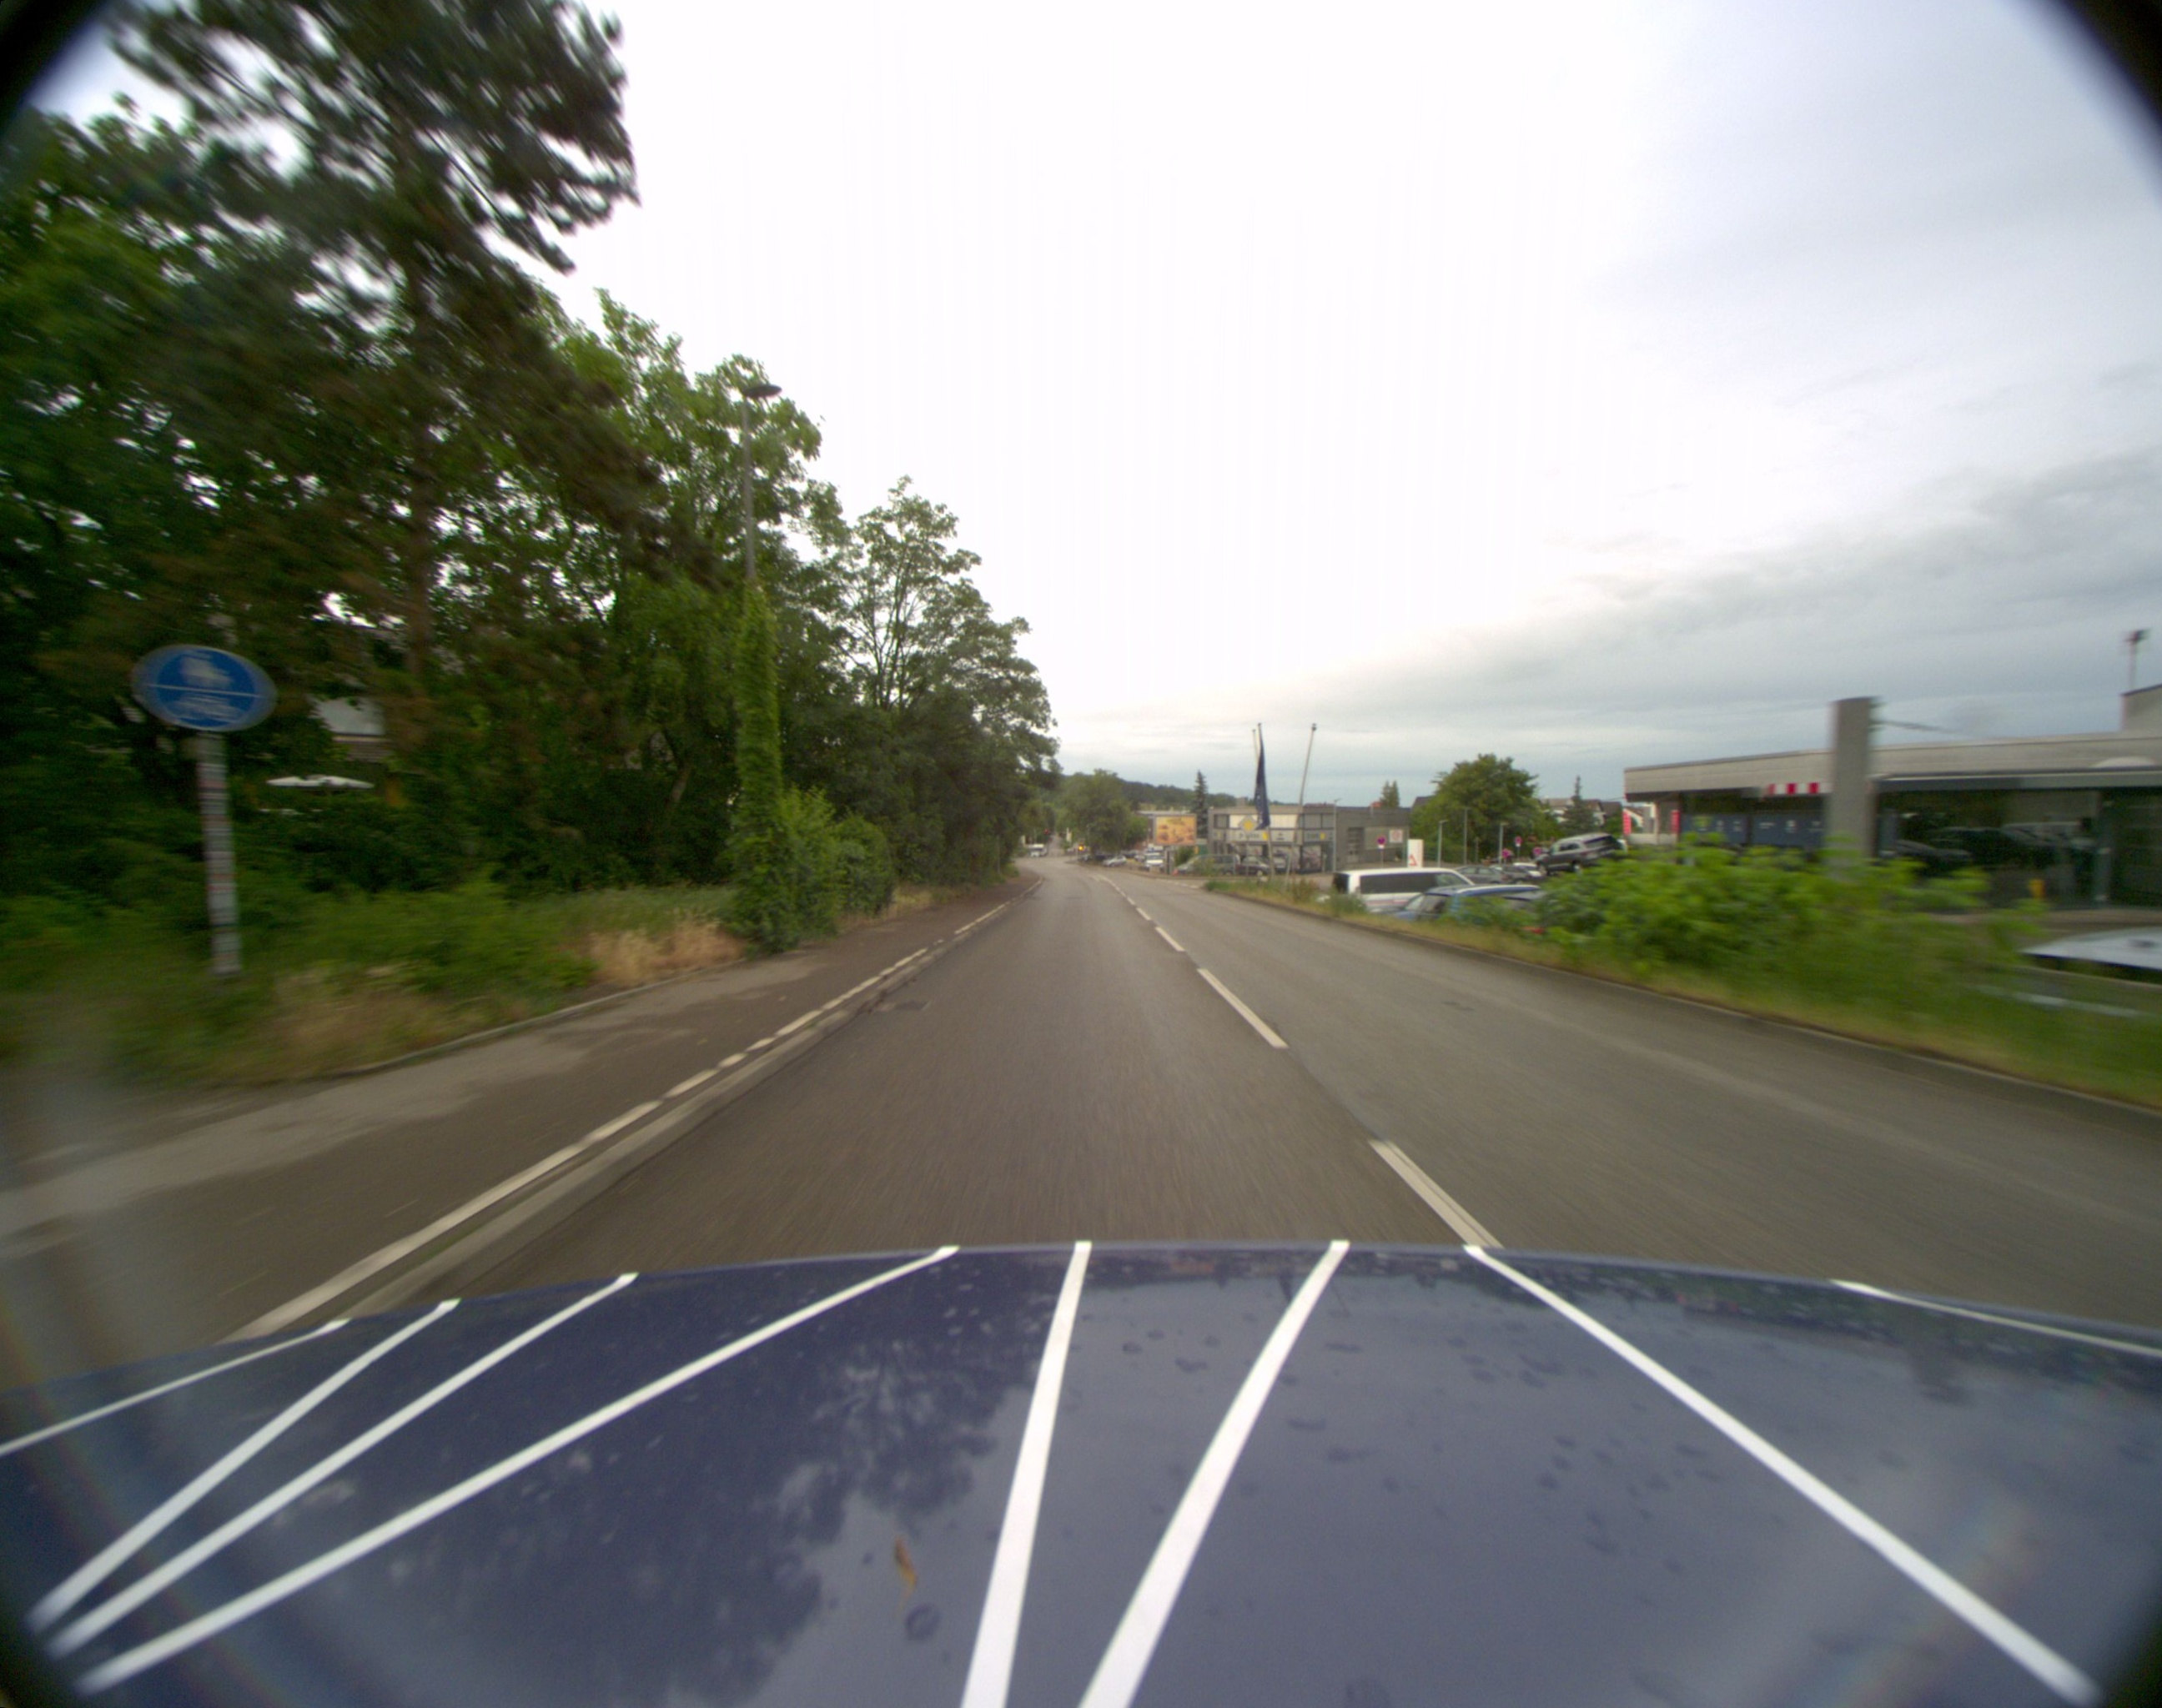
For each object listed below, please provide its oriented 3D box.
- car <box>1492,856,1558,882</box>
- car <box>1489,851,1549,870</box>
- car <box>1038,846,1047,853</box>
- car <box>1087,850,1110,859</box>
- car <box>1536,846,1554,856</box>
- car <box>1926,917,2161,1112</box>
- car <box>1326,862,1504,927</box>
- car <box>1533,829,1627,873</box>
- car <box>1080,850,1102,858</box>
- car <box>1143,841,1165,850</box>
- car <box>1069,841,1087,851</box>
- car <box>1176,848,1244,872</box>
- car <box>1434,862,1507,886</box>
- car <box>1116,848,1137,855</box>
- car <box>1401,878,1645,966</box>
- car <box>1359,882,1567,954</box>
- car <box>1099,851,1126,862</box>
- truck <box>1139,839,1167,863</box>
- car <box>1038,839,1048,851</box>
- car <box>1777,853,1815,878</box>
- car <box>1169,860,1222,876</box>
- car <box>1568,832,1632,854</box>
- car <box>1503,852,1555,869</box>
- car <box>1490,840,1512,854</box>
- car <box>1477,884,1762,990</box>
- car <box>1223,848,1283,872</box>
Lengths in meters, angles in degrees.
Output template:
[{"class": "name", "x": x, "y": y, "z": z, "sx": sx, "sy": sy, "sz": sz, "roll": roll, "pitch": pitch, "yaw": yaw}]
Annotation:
[{"class": "car", "x": 31.760, "y": 1.052, "z": 54.463, "sx": 3.981, "sy": 1.778, "sz": 1.823, "roll": 0, "pitch": 0, "yaw": 25}, {"class": "car", "x": 34.870, "y": 0.521, "z": 60.612, "sx": 3.981, "sy": 1.419, "sz": 1.847, "roll": 0, "pitch": 0, "yaw": 25}, {"class": "car", "x": -8.877, "y": -1.050, "z": 174.691, "sx": 1.770, "sy": 1.460, "sz": 3.997, "roll": 0, "pitch": 1, "yaw": -5}, {"class": "car", "x": 3.011, "y": 0.067, "z": 132.702, "sx": 3.896, "sy": 1.558, "sz": 1.671, "roll": 0, "pitch": 1, "yaw": -7}, {"class": "car", "x": 58.544, "y": -0.369, "z": 95.803, "sx": 1.377, "sy": 1.181, "sz": 3.069, "roll": 0, "pitch": 0, "yaw": 42}, {"class": "car", "x": 10.461, "y": 1.314, "z": 6.634, "sx": 4.238, "sy": 1.360, "sz": 1.874, "roll": 0, "pitch": 0, "yaw": -3}, {"class": "car", "x": 9.735, "y": 1.145, "z": 22.399, "sx": 4.424, "sy": 1.787, "sz": 1.934, "roll": 0, "pitch": 0, "yaw": -1}, {"class": "car", "x": 21.398, "y": -0.156, "z": 32.802, "sx": 1.402, "sy": 1.789, "sz": 4.251, "roll": 0, "pitch": 1, "yaw": 2}, {"class": "car", "x": 1.822, "y": -0.004, "z": 135.347, "sx": 3.768, "sy": 1.558, "sz": 1.671, "roll": 0, "pitch": 1, "yaw": -3}, {"class": "car", "x": 17.093, "y": -1.915, "z": 177.074, "sx": 5.266, "sy": 2.074, "sz": 2.047, "roll": 0, "pitch": 1, "yaw": -40}, {"class": "car", "x": -0.734, "y": -1.792, "z": 174.684, "sx": 1.774, "sy": 2.094, "sz": 4.370, "roll": -2, "pitch": 6, "yaw": -39}, {"class": "car", "x": 10.342, "y": 0.480, "z": 61.121, "sx": 5.084, "sy": 1.860, "sz": 1.821, "roll": 0, "pitch": 1, "yaw": -9}, {"class": "car", "x": 24.878, "y": 1.251, "z": 48.664, "sx": 4.095, "sy": 1.419, "sz": 1.893, "roll": 0, "pitch": 0, "yaw": 25}, {"class": "car", "x": 9.074, "y": -0.520, "z": 151.836, "sx": 1.794, "sy": 1.444, "sz": 4.031, "roll": -2, "pitch": 2, "yaw": -41}, {"class": "car", "x": 9.903, "y": 1.481, "z": 17.267, "sx": 4.425, "sy": 1.787, "sz": 2.001, "roll": 0, "pitch": 0, "yaw": -3}, {"class": "car", "x": 9.823, "y": 1.629, "z": 19.792, "sx": 4.424, "sy": 1.685, "sz": 2.002, "roll": 0, "pitch": 0, "yaw": -1}, {"class": "car", "x": 4.851, "y": 0.420, "z": 118.412, "sx": 4.015, "sy": 1.561, "sz": 1.716, "roll": -3, "pitch": 2, "yaw": -39}, {"class": "truck", "x": 8.184, "y": -0.325, "z": 87.060, "sx": 1.999, "sy": 2.617, "sz": 7.889, "roll": 0, "pitch": 1, "yaw": -3}, {"class": "car", "x": -9.601, "y": -2.327, "z": 191.831, "sx": 2.575, "sy": 2.759, "sz": 6.122, "roll": 1, "pitch": 4, "yaw": -2}, {"class": "car", "x": 59.889, "y": 0.918, "z": 63.597, "sx": 4.008, "sy": 2.002, "sz": 1.903, "roll": 0, "pitch": 3, "yaw": -42}, {"class": "car", "x": 9.679, "y": 1.155, "z": 64.532, "sx": 4.107, "sy": 1.260, "sz": 1.767, "roll": 0, "pitch": 1, "yaw": -13}, {"class": "car", "x": 60.915, "y": -1.268, "z": 89.276, "sx": 2.151, "sy": 2.356, "sz": 5.861, "roll": -4, "pitch": 2, "yaw": -45}, {"class": "car", "x": 37.266, "y": 0.556, "z": 63.303, "sx": 3.583, "sy": 1.419, "sz": 1.586, "roll": 0, "pitch": 0, "yaw": 25}, {"class": "car", "x": 47.132, "y": -0.765, "z": 85.271, "sx": 1.402, "sy": 1.538, "sz": 3.222, "roll": 0, "pitch": 1, "yaw": 42}, {"class": "car", "x": 10.202, "y": 1.521, "z": 14.611, "sx": 4.238, "sy": 1.787, "sz": 1.874, "roll": 0, "pitch": 0, "yaw": -3}, {"class": "car", "x": 15.590, "y": 0.587, "z": 69.040, "sx": 4.864, "sy": 1.975, "sz": 2.004, "roll": -2, "pitch": 0, "yaw": 45}]
